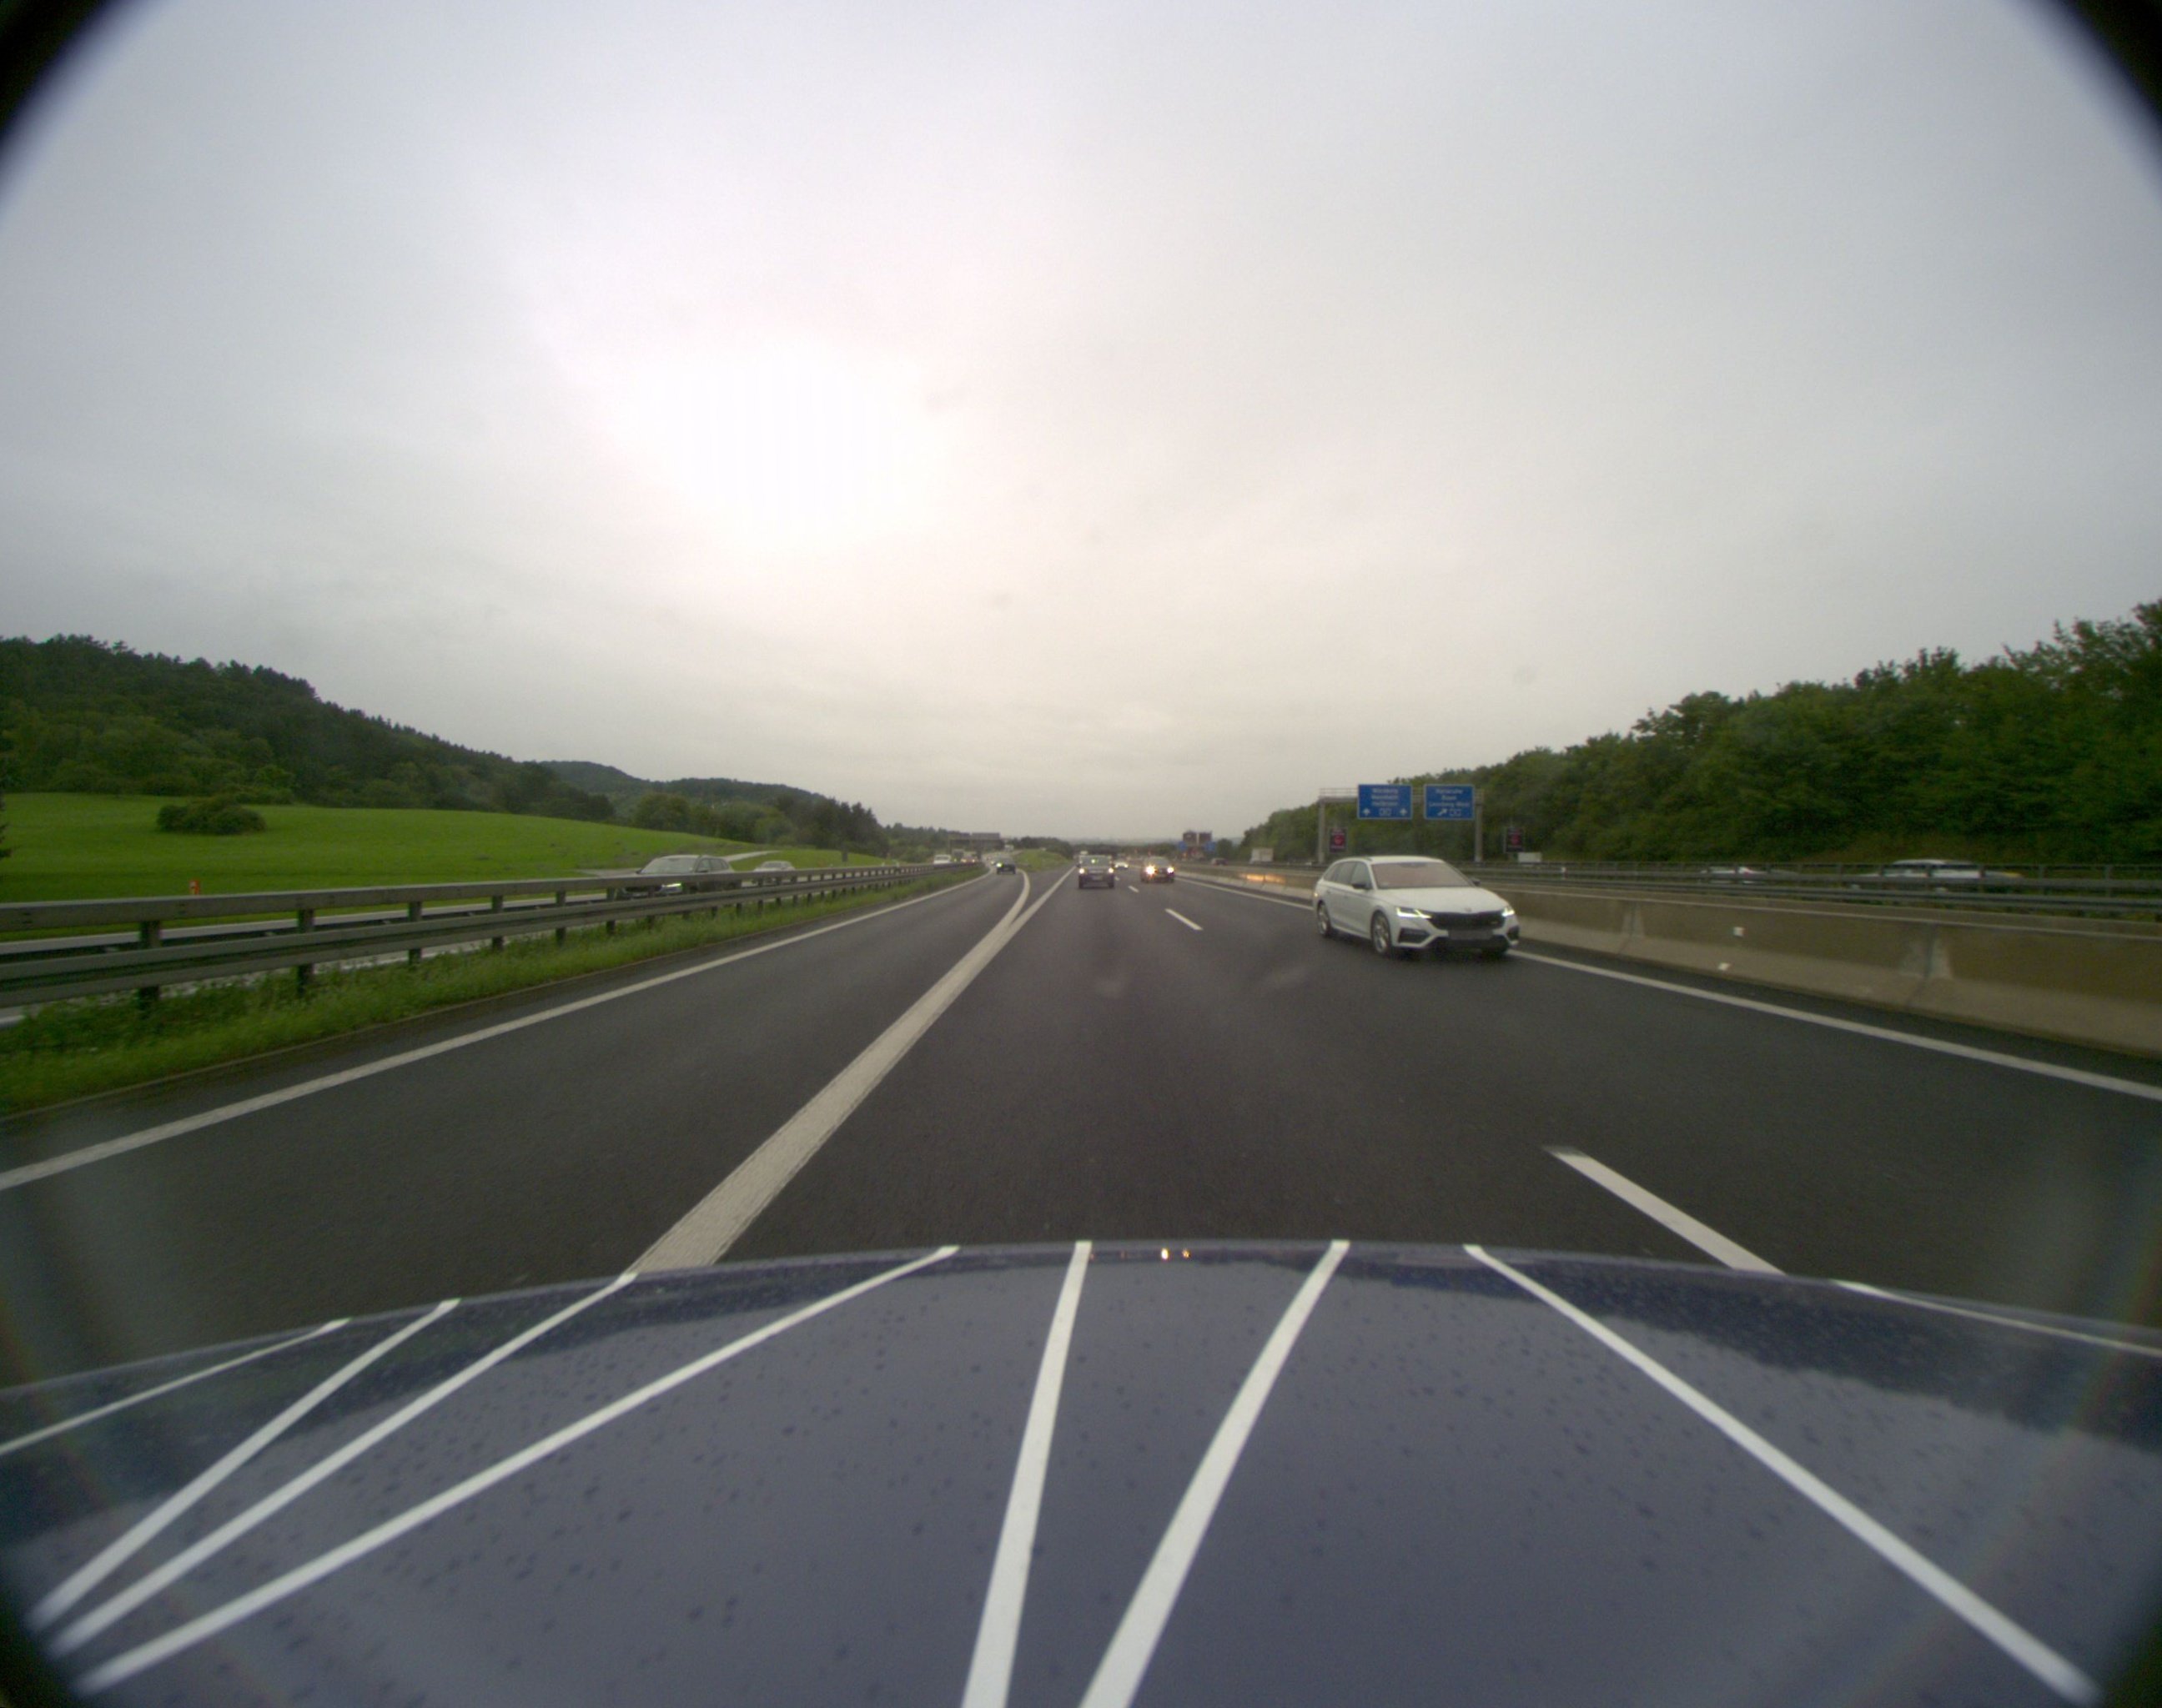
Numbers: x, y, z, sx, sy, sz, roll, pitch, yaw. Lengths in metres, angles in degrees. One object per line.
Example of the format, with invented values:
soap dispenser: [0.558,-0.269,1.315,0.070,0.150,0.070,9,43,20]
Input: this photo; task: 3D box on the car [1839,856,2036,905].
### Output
car: [28.675,0.830,25.676,1.823,1.448,4.268,-1,1,0]

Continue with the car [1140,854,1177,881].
car: [4.630,0.794,45.740,1.726,1.481,4.566,-1,0,0]

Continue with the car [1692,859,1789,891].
car: [36.611,1.128,42.324,1.823,1.622,4.058,-1,1,-1]

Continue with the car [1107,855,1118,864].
car: [5.978,1.022,145.538,1.726,1.481,4.566,-1,0,-1]

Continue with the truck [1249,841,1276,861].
truck: [36.518,-0.576,153.080,3.082,3.856,9.634,-1,1,1]

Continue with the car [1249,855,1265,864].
car: [29.336,0.946,126.787,1.680,1.448,4.632,-1,0,0]

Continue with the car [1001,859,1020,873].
car: [-7.252,1.214,78.031,1.868,1.349,4.564,-1,0,-7]

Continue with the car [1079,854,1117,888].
car: [0.847,0.839,38.642,1.813,1.571,3.835,-1,1,1]

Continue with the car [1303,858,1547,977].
car: [5.164,0.839,12.245,1.823,1.448,4.777,-1,0,1]

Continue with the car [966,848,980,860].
car: [-19.365,-0.044,135.942,2.130,2.002,5.074,-1,1,-5]

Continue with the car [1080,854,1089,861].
car: [0.841,0.859,168.428,1.919,1.481,4.566,-1,0,-1]

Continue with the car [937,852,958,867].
car: [-15.624,0.614,88.922,1.914,1.684,4.716,-1,1,-5]

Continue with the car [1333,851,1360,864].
car: [33.331,0.412,95.540,1.823,1.484,4.474,-1,1,-1]

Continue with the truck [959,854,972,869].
truck: [-32.684,2.024,215.227,2.800,3.878,10.022,-1,1,-5]

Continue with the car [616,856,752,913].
car: [-11.134,0.799,21.651,1.671,1.374,4.125,-1,1,0]

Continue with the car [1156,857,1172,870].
car: [13.780,1.513,126.288,1.998,2.002,4.982,-1,1,0]

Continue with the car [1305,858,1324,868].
car: [36.729,1.395,119.458,1.680,1.448,4.000,-1,1,0]

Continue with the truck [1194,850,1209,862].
truck: [34.070,0.582,215.949,2.858,3.202,9.078,-1,1,1]

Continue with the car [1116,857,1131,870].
car: [5.427,1.239,98.363,1.725,1.481,4.567,-1,0,1]

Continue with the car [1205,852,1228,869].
car: [17.020,0.739,95.408,1.998,2.002,4.982,-1,1,0]

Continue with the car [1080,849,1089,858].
car: [0.733,-0.210,174.742,2.016,1.994,4.566,-1,1,-1]

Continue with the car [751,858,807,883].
car: [-19.900,1.056,50.291,1.904,1.446,4.709,-1,0,-2]
